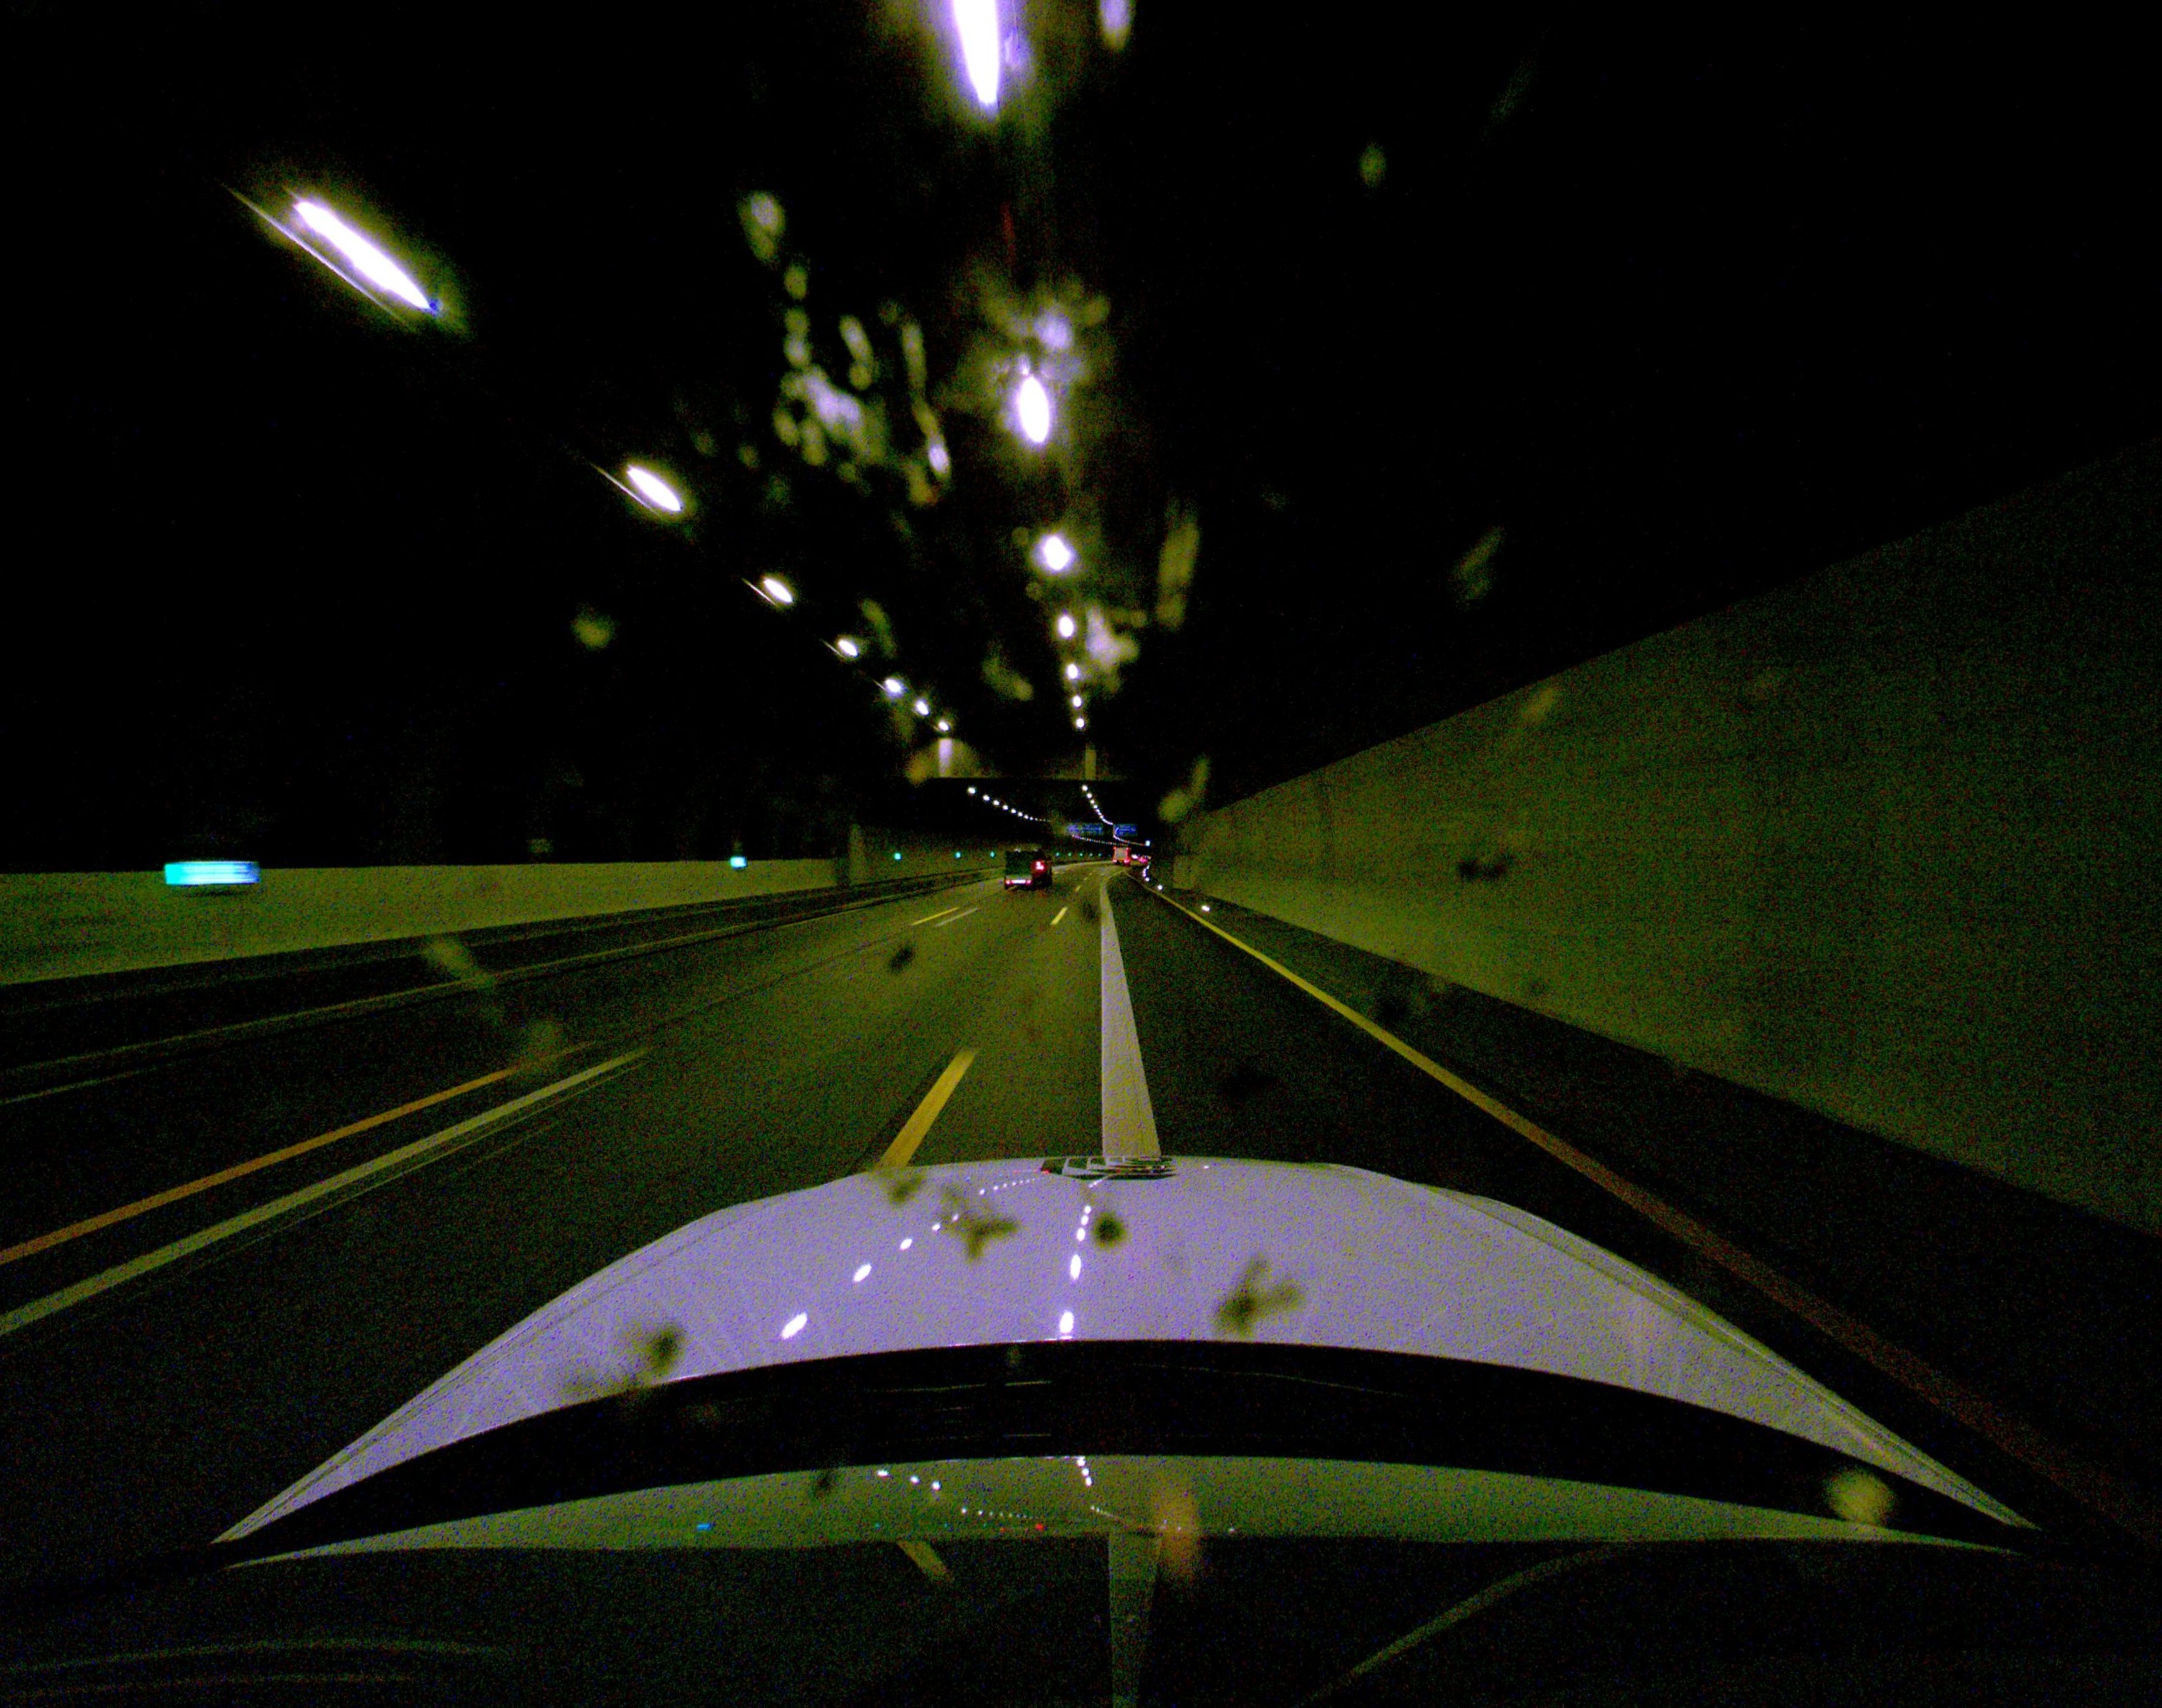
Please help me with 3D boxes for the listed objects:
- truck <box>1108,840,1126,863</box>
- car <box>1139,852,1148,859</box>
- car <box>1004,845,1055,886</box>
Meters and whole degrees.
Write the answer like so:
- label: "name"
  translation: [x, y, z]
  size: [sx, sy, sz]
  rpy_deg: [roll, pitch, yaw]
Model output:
- label: "truck"
  translation: [7.211, -0.521, 162.703]
  size: [3.461, 4.316, 10.958]
  rpy_deg: [-1, 1, 2]
- label: "car"
  translation: [17.085, 0.468, 222.876]
  size: [1.983, 1.895, 5.543]
  rpy_deg: [-2, 0, 7]
- label: "car"
  translation: [-2.567, 0.627, 41.742]
  size: [1.986, 1.895, 5.455]
  rpy_deg: [-2, -2, 2]
